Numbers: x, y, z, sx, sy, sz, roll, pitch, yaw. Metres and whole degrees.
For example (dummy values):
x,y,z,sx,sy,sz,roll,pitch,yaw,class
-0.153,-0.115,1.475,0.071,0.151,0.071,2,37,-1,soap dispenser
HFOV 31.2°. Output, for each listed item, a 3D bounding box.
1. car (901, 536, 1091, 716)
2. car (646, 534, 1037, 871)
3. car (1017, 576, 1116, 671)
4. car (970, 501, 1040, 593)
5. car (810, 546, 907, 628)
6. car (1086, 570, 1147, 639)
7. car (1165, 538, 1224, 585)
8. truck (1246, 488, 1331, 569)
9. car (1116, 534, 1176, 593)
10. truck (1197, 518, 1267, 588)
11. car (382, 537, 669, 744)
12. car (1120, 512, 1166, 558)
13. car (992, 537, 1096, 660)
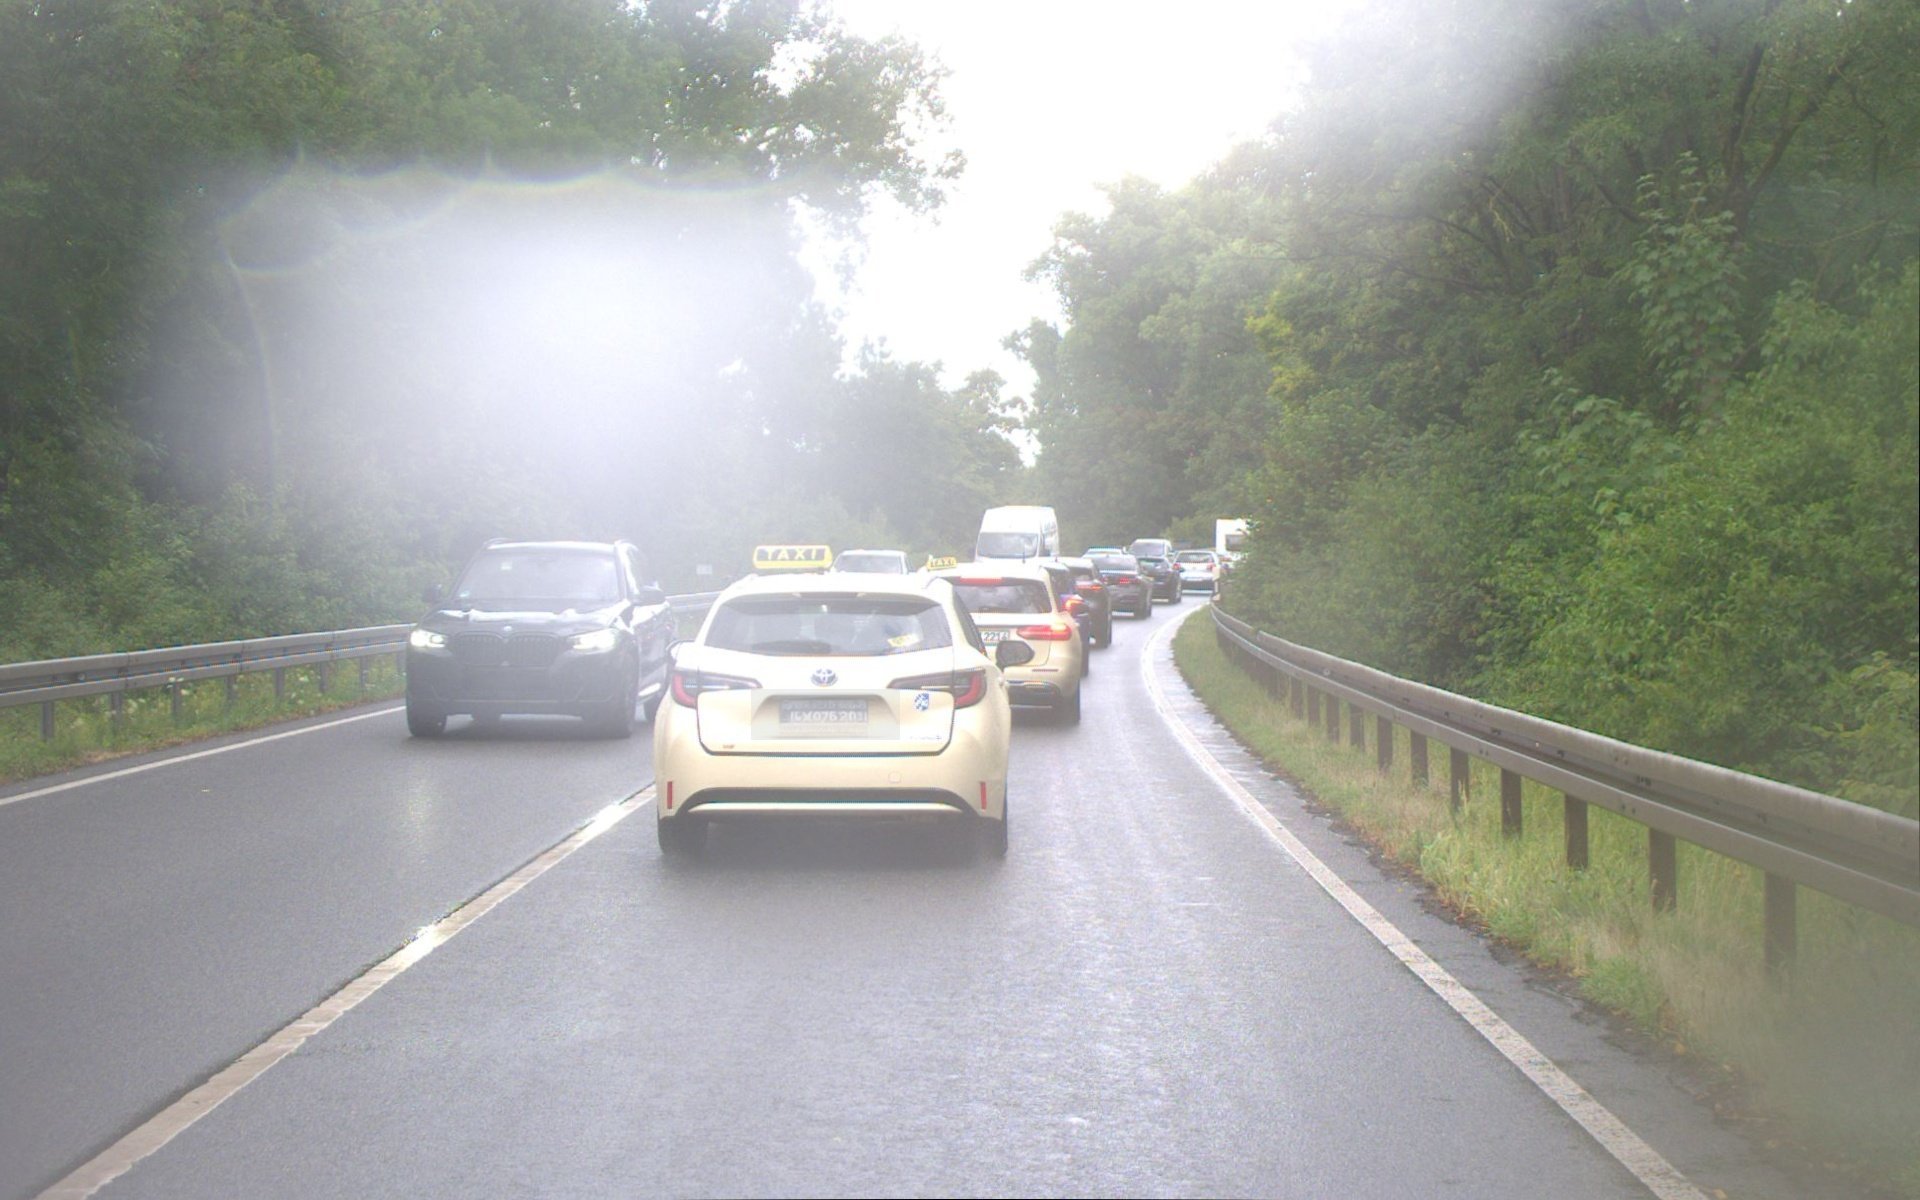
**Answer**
x,y,z,sx,sy,sz,roll,pitch,yaw,class
0.354,0.227,32.550,1.667,1.575,3.892,1,0,1,car
-0.562,0.481,18.385,1.834,1.575,4.157,1,0,0,car
1.781,0.373,58.070,1.611,1.541,3.814,0,0,1,car
1.378,-1.557,103.064,2.048,2.667,6.171,0,0,1,car
-1.998,-0.290,68.801,1.691,1.550,4.442,1,1,1,car
3.570,0.095,78.348,1.167,1.541,2.603,1,0,7,car
7.960,-1.294,116.381,1.770,1.541,3.813,1,0,7,car
15.711,-3.364,163.944,3.109,3.668,6.996,1,0,13,truck
5.266,-1.015,96.834,1.616,1.607,3.621,1,0,4,car
10.941,-1.879,138.712,2.550,2.704,7.534,1,0,3,truck
-3.680,0.297,29.813,1.847,1.638,4.298,1,1,1,car
8.358,-2.957,156.791,1.994,2.007,3.999,1,0,4,car
1.103,-0.020,45.274,1.300,1.541,3.260,1,0,1,car
